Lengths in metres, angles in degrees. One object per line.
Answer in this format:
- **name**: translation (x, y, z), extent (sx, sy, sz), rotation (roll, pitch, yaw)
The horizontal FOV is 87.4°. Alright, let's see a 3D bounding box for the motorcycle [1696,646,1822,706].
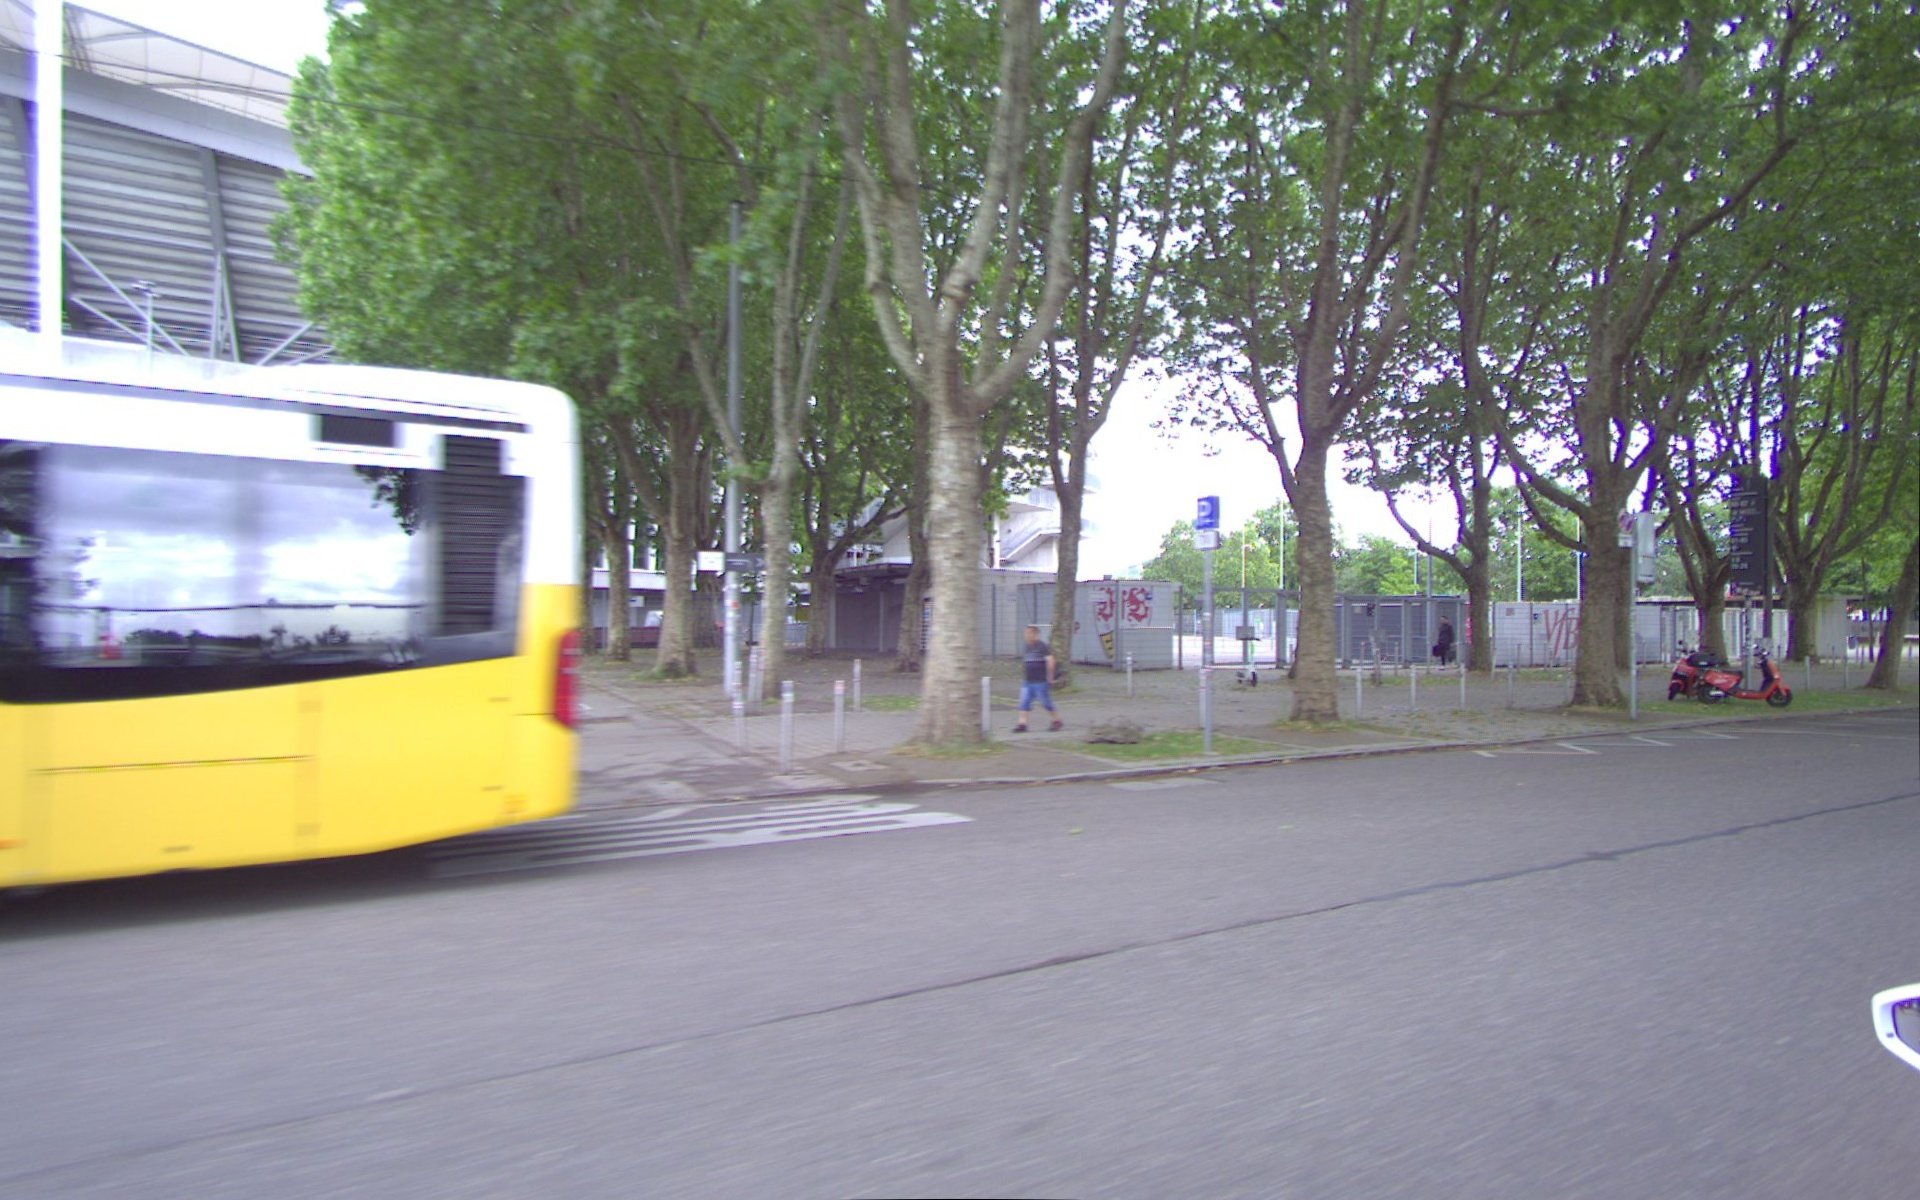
- **motorcycle**: translation (17.027, 1.612, 21.449), extent (2.035, 1.173, 0.575), rotation (1, 0, 14)

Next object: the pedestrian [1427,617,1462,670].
- **pedestrian**: translation (16.558, 1.485, 34.337), extent (0.864, 1.777, 0.700), rotation (1, 0, -30)

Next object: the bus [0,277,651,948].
- **bus**: translation (-7.888, 0.059, 4.449), extent (12.217, 3.195, 2.641), rotation (1, -4, -29)

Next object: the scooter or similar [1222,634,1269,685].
- **scooter or similar**: translation (7.044, 1.462, 24.830), extent (0.439, 1.188, 1.179), rotation (1, 0, -24)

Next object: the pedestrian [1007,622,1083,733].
- **pedestrian**: translation (1.281, 1.146, 15.173), extent (0.902, 1.610, 0.658), rotation (1, 0, -30)

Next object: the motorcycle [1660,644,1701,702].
- **motorcycle**: translation (16.119, 1.603, 22.455), extent (0.566, 1.173, 2.067), rotation (1, -1, 40)
